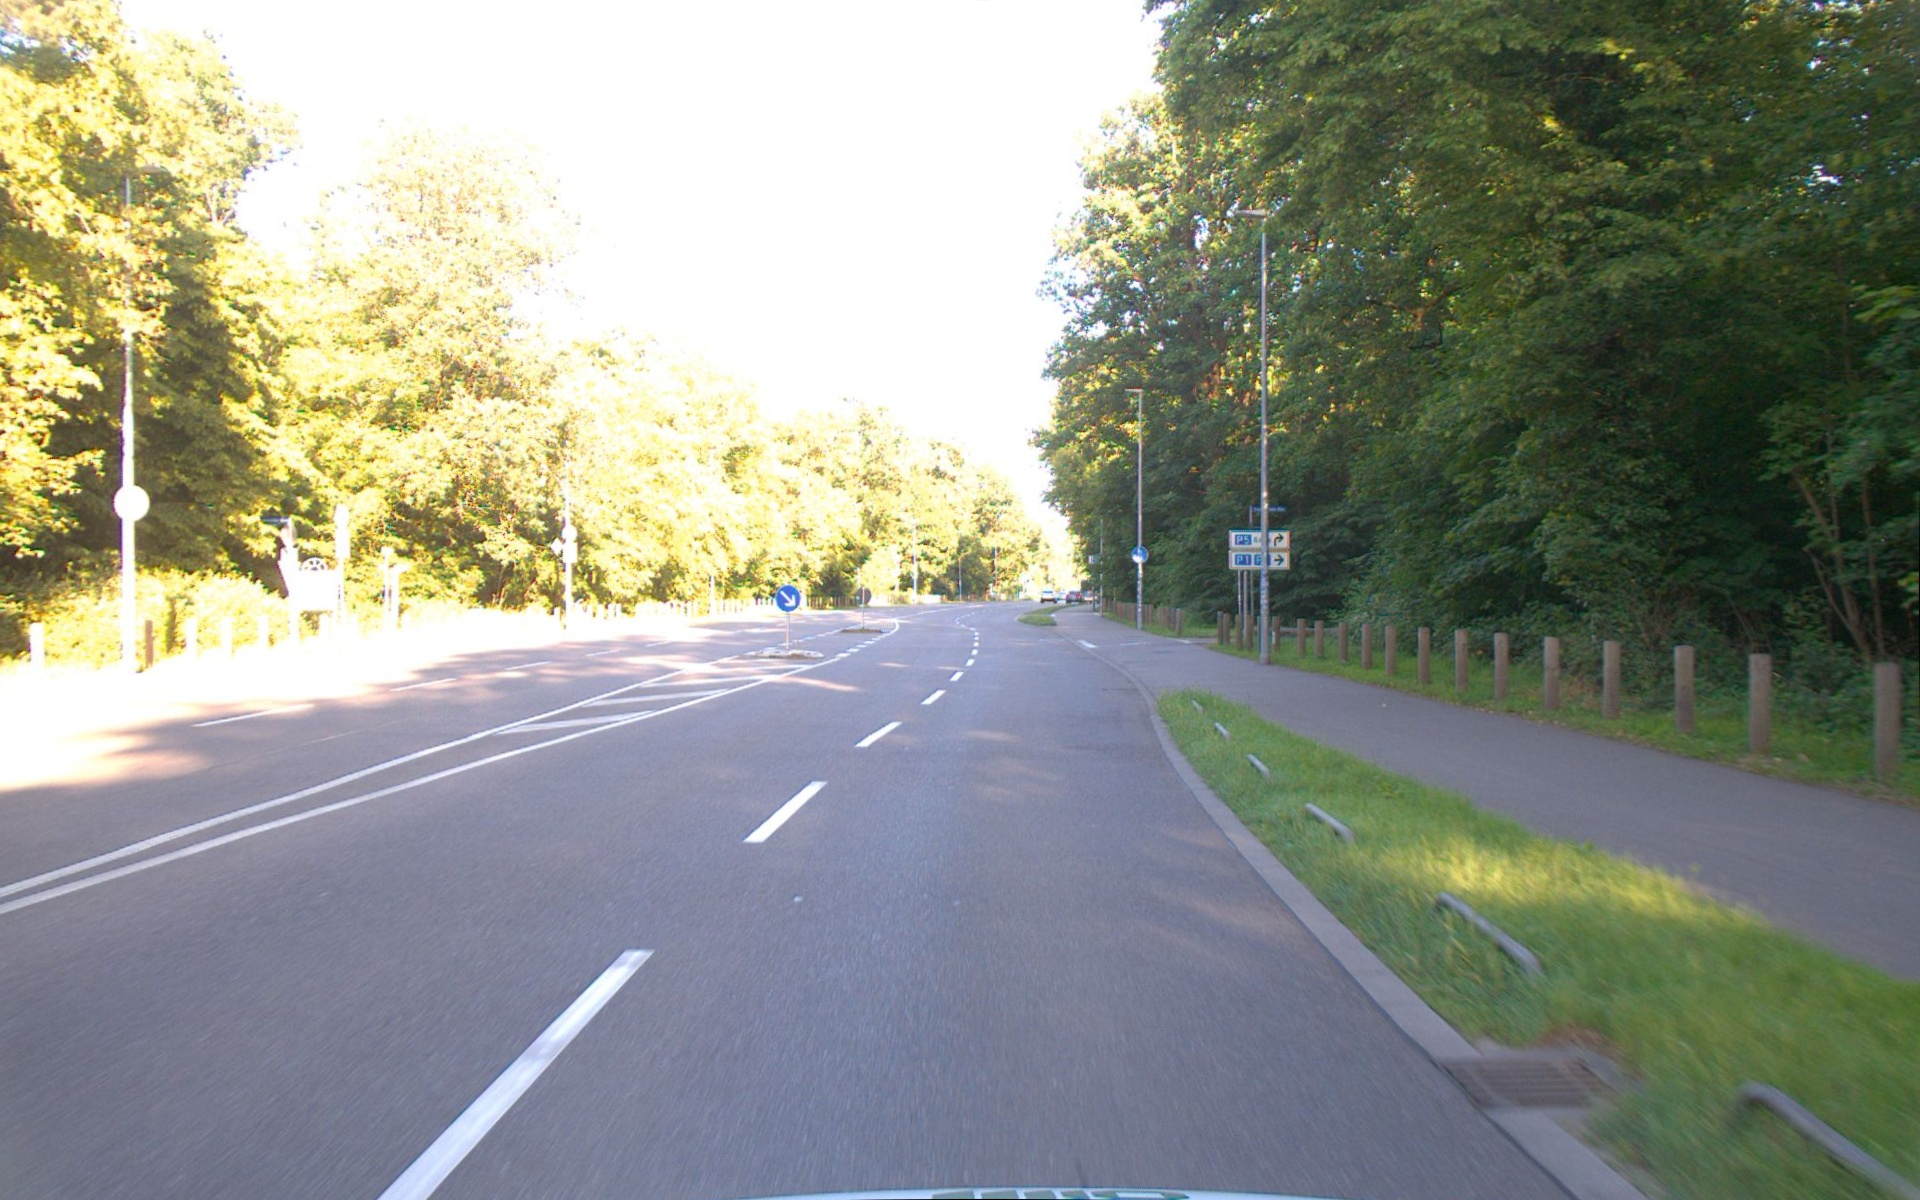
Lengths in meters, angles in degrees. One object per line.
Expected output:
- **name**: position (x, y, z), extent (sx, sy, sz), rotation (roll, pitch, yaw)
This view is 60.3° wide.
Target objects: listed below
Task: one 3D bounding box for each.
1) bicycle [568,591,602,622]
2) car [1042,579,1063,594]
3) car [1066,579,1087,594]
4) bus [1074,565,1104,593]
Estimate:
- **bicycle**: position (-14.107, 0.244, 62.274), extent (0.392, 1.152, 2.221), rotation (1, 0, 11)
- **car**: position (11.026, -1.628, 197.075), extent (1.840, 1.739, 4.004), rotation (-1, 1, 13)
- **car**: position (14.030, -1.649, 199.219), extent (1.840, 1.796, 4.004), rotation (-1, 1, 13)
- **bus**: position (16.616, -2.714, 212.775), extent (2.549, 3.427, 7.983), rotation (0, 1, 13)
